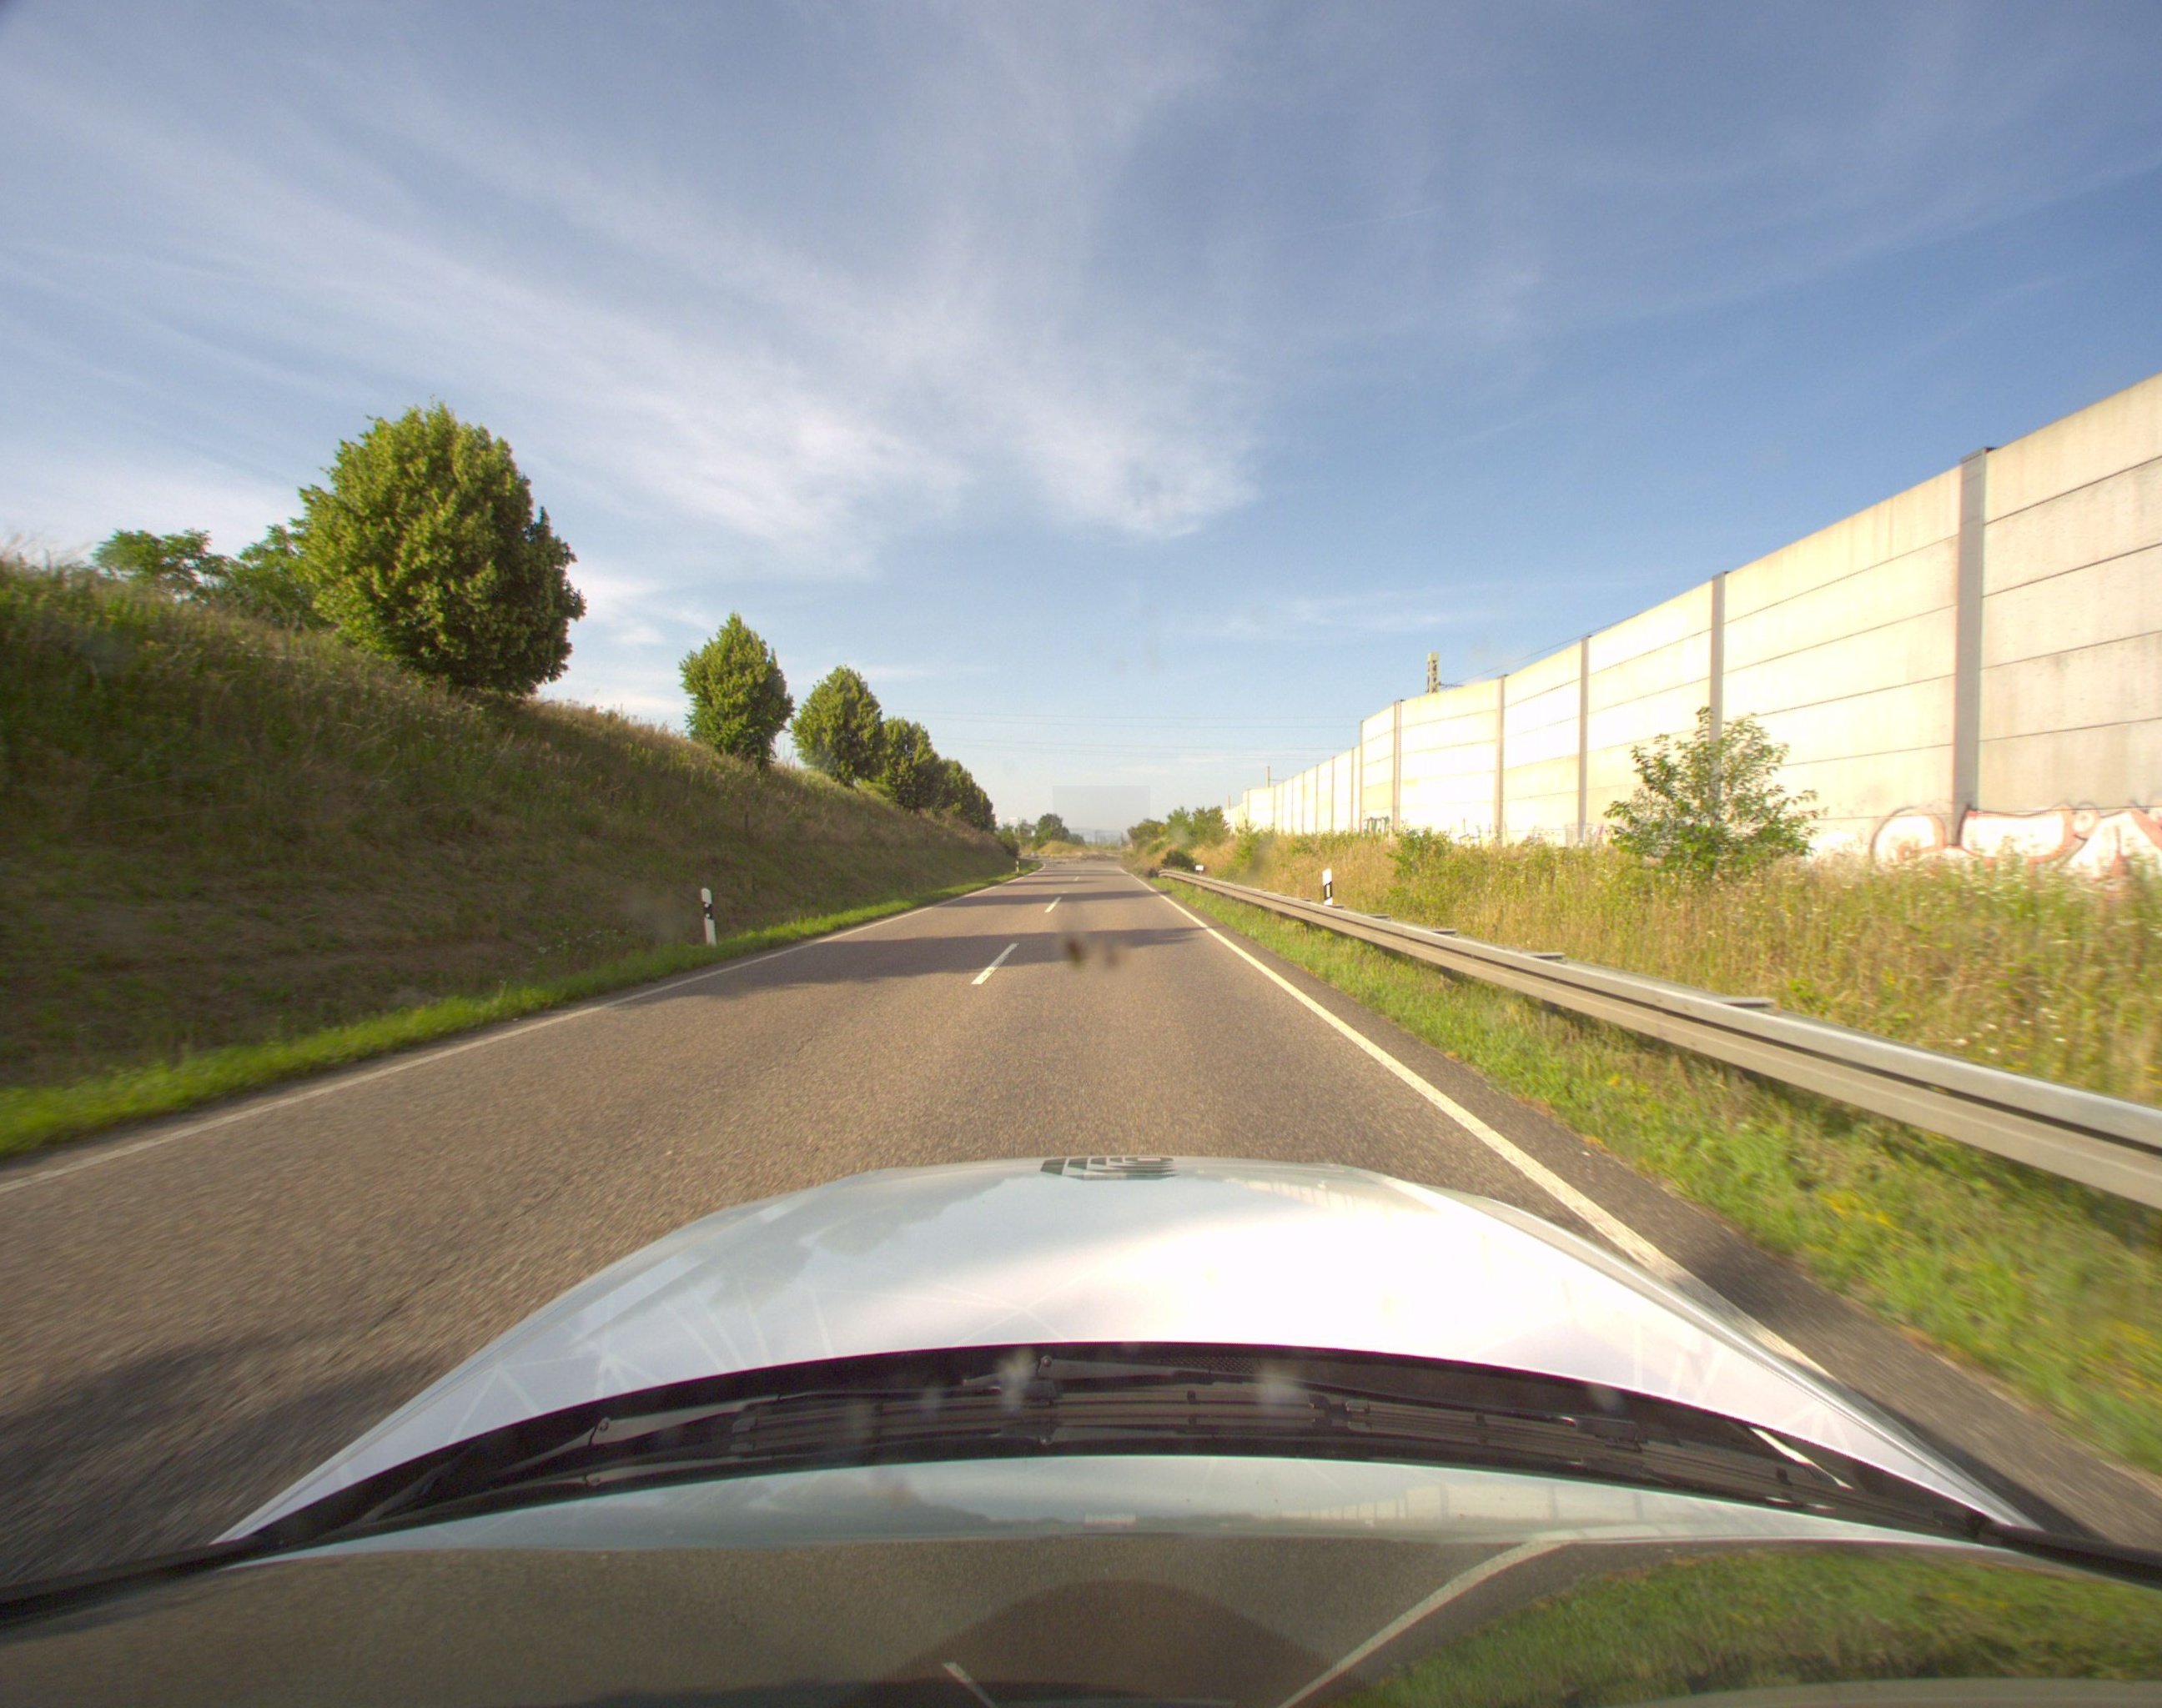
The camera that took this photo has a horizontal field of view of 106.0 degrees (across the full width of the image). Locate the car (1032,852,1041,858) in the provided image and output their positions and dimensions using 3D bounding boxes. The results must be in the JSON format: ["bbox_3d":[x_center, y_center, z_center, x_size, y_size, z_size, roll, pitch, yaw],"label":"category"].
[{"bbox_3d":[-11.379,0.172,209.148,2.038,1.581,4.362,0,0,2],"label":"car"}]

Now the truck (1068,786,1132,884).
[{"bbox_3d":[1.065,-1.071,48.509,3.279,5.089,12.038,-1,1,1],"label":"truck"}]
